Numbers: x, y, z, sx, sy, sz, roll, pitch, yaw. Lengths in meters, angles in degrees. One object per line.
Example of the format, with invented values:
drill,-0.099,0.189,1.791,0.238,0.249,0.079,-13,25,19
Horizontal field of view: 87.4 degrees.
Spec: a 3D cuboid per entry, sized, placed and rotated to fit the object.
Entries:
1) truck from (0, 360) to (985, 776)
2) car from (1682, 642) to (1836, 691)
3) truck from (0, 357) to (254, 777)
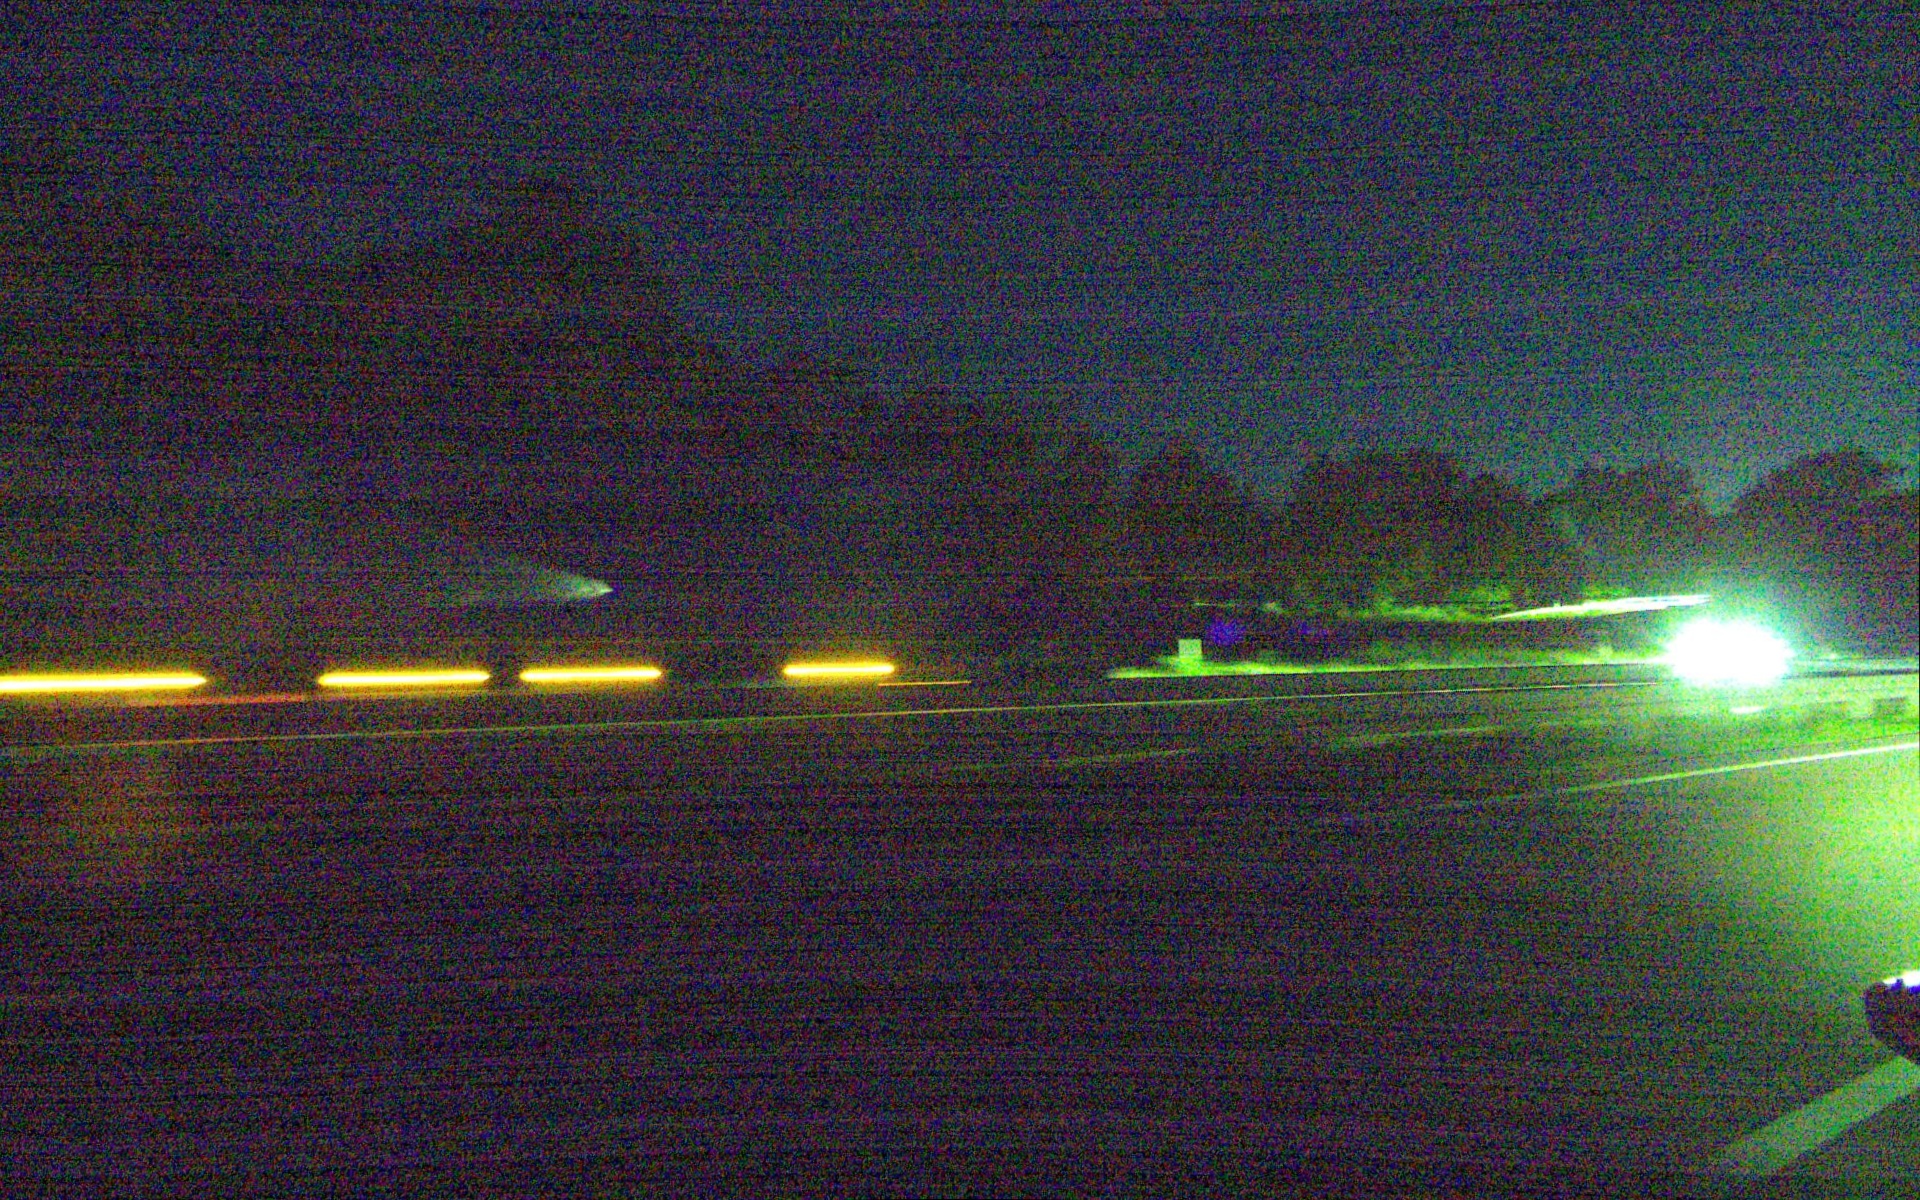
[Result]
truck,-6.241,-0.182,13.640,13.744,4.182,2.733,2,-1,-30
car,23.236,1.892,29.212,4.240,1.288,1.986,1,-1,-28
truck,-11.627,-0.356,10.487,6.595,4.198,2.760,2,-1,-30
